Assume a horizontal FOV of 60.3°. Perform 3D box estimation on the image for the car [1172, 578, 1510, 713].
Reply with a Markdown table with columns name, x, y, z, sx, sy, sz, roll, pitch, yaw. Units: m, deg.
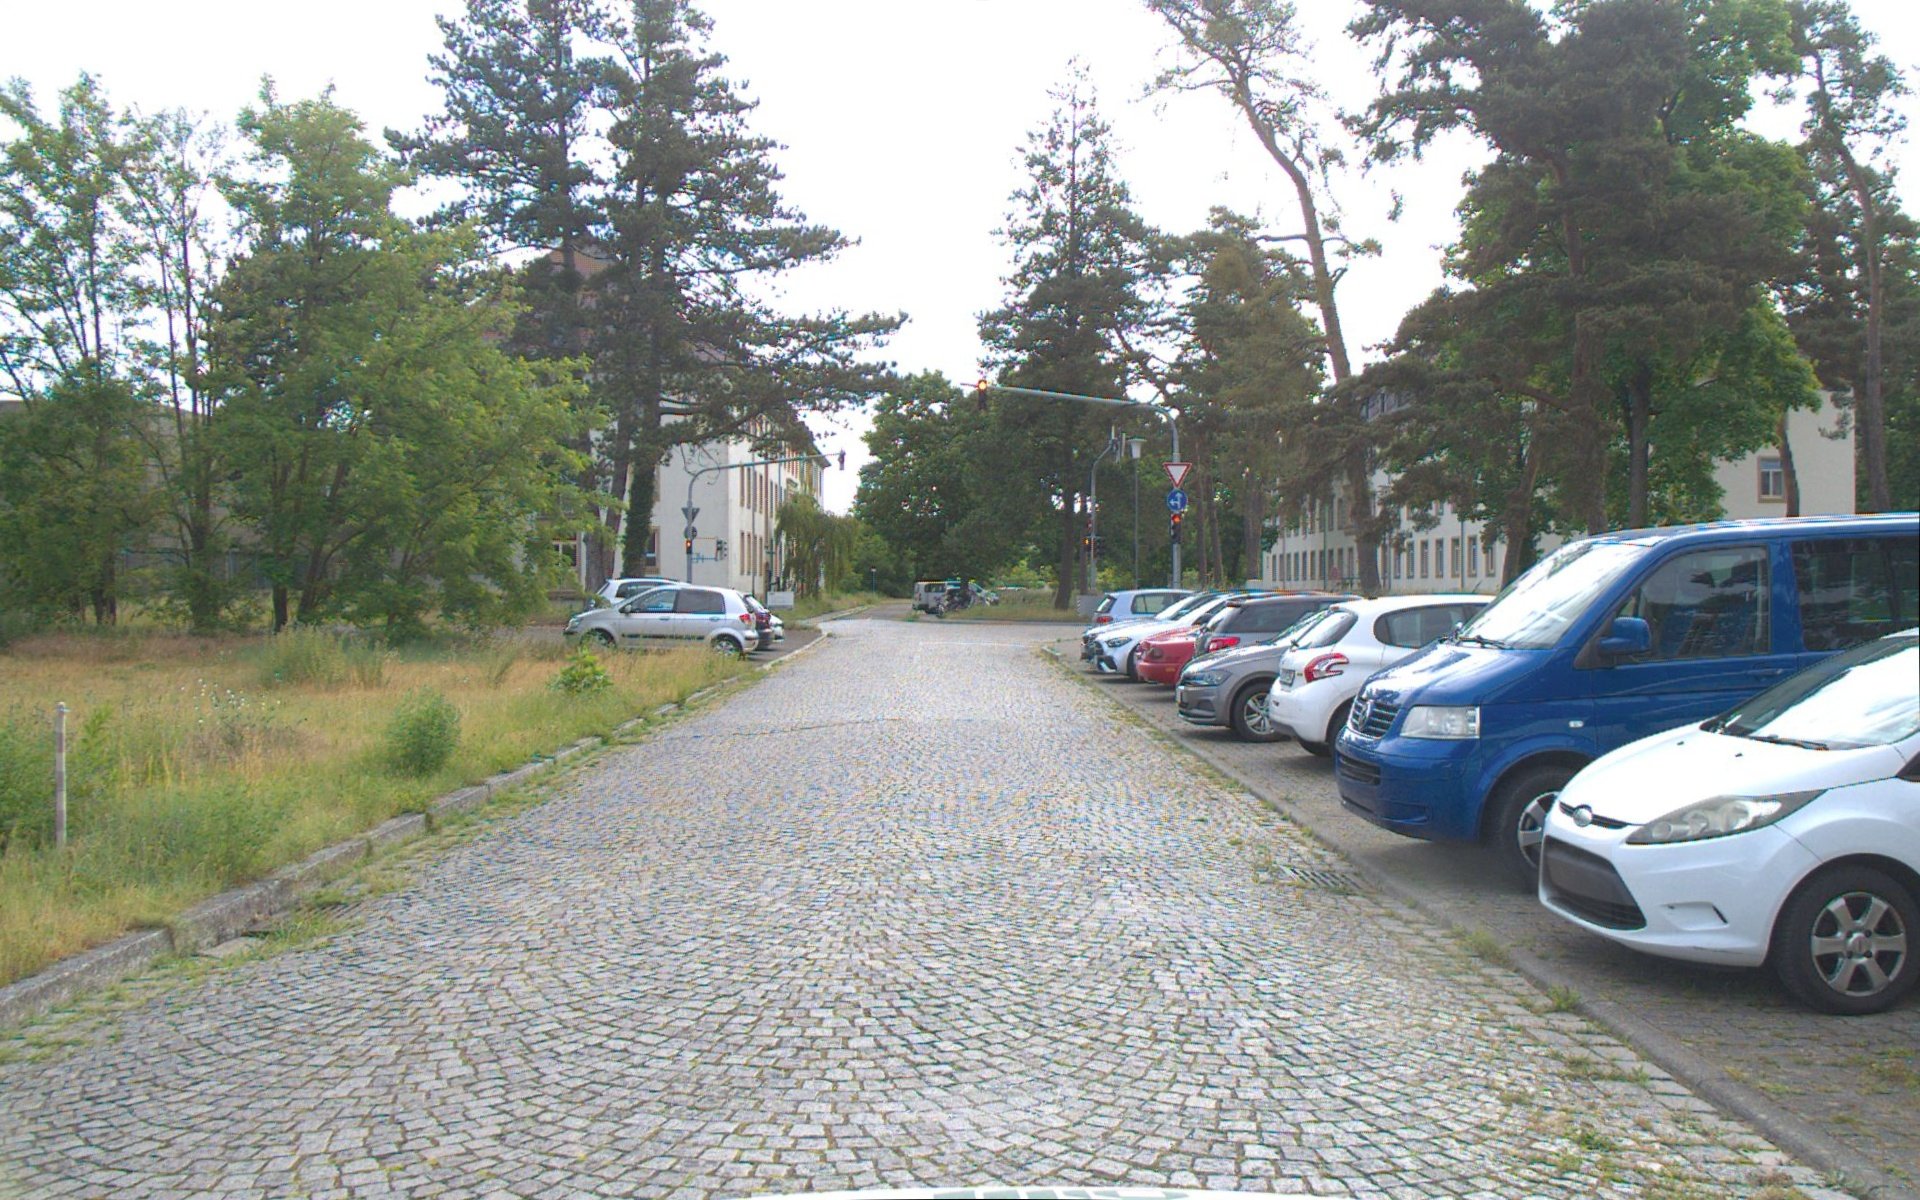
| name | x | y | z | sx | sy | sz | roll | pitch | yaw |
| --- | --- | --- | --- | --- | --- | --- | --- | --- | --- |
| car | 4.705 | 0.537 | 20.772 | 3.785 | 1.498 | 1.757 | -2 | 0 | -2 |

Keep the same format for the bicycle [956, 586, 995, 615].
| name | x | y | z | sx | sy | sz | roll | pitch | yaw |
| --- | --- | --- | --- | --- | --- | --- | --- | --- | --- |
| bicycle | 0.802 | 0.021 | 83.526 | 1.918 | 1.408 | 0.587 | 0 | 0 | -8 |

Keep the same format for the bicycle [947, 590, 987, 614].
| name | x | y | z | sx | sy | sz | roll | pitch | yaw |
| --- | --- | --- | --- | --- | --- | --- | --- | --- | --- |
| bicycle | 0.357 | 0.090 | 82.054 | 1.918 | 1.152 | 0.587 | 0 | 0 | -8 |

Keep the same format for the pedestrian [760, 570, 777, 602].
| name | x | y | z | sx | sy | sz | roll | pitch | yaw |
| --- | --- | --- | --- | --- | --- | --- | --- | --- | --- |
| pedestrian | -11.323 | -0.828 | 97.570 | 0.766 | 1.869 | 0.733 | 0 | 0 | -32 |

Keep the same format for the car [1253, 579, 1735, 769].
| name | x | y | z | sx | sy | sz | roll | pitch | yaw |
| --- | --- | --- | --- | --- | --- | --- | --- | --- | --- |
| car | 4.746 | 0.620 | 15.066 | 3.785 | 1.498 | 1.757 | -2 | 0 | -2 |

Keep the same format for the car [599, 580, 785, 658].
| name | x | y | z | sx | sy | sz | roll | pitch | yaw |
| --- | --- | --- | --- | --- | --- | --- | --- | --- | --- |
| car | -5.598 | 0.392 | 34.888 | 3.672 | 1.453 | 1.581 | 3 | 0 | -4 |

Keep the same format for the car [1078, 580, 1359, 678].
| name | x | y | z | sx | sy | sz | roll | pitch | yaw |
| --- | --- | --- | --- | --- | --- | --- | --- | --- | --- |
| car | 4.350 | 0.460 | 28.145 | 4.341 | 1.441 | 1.867 | -2 | 1 | -10 |

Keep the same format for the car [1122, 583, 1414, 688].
| name | x | y | z | sx | sy | sz | roll | pitch | yaw |
| --- | --- | --- | --- | --- | --- | --- | --- | --- | --- |
| car | 4.749 | 0.530 | 25.885 | 4.175 | 1.441 | 1.871 | -2 | 1 | -1 |

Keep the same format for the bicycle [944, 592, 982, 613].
| name | x | y | z | sx | sy | sz | roll | pitch | yaw |
| --- | --- | --- | --- | --- | --- | --- | --- | --- | --- |
| bicycle | 0.158 | 0.122 | 84.167 | 1.935 | 1.088 | 0.582 | 0 | 0 | -31 |

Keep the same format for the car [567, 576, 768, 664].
| name | x | y | z | sx | sy | sz | roll | pitch | yaw |
| --- | --- | --- | --- | --- | --- | --- | --- | --- | --- |
| car | -5.654 | 0.373 | 32.289 | 3.630 | 1.505 | 1.581 | 3 | 0 | -4 |

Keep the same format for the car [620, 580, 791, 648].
| name | x | y | z | sx | sy | sz | roll | pitch | yaw |
| --- | --- | --- | --- | --- | --- | --- | --- | --- | --- |
| car | -6.141 | 0.325 | 40.200 | 3.868 | 1.446 | 1.650 | 3 | 0 | -2 |

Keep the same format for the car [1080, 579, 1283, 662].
| name | x | y | z | sx | sy | sz | roll | pitch | yaw |
| --- | --- | --- | --- | --- | --- | --- | --- | --- | --- |
| car | 4.410 | 0.400 | 33.285 | 3.846 | 1.503 | 1.642 | -2 | 0 | 0 |

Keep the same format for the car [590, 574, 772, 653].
| name | x | y | z | sx | sy | sz | roll | pitch | yaw |
| --- | --- | --- | --- | --- | --- | --- | --- | --- | --- |
| car | -6.297 | 0.303 | 37.654 | 3.870 | 1.590 | 1.649 | 3 | 0 | -4 |

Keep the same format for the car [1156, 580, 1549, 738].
| name | x | y | z | sx | sy | sz | roll | pitch | yaw |
| --- | --- | --- | --- | --- | --- | --- | --- | --- | --- |
| car | 4.157 | 0.594 | 17.919 | 3.785 | 1.498 | 1.757 | -2 | 0 | -2 |

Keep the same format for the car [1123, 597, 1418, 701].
| name | x | y | z | sx | sy | sz | roll | pitch | yaw |
| --- | --- | --- | --- | --- | --- | --- | --- | --- | --- |
| car | 4.314 | 0.664 | 23.351 | 3.785 | 1.258 | 1.757 | -2 | 1 | -2 |

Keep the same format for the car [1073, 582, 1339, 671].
| name | x | y | z | sx | sy | sz | roll | pitch | yaw |
| --- | --- | --- | --- | --- | --- | --- | --- | --- | --- |
| car | 4.522 | 0.467 | 30.835 | 4.588 | 1.441 | 1.870 | -2 | 1 | -3 |

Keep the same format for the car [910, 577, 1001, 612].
| name | x | y | z | sx | sy | sz | roll | pitch | yaw |
| --- | --- | --- | --- | --- | --- | --- | --- | --- | --- |
| car | -0.287 | -0.318 | 100.126 | 5.263 | 1.958 | 2.020 | -2 | 0 | -10 |

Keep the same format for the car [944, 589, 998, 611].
| name | x | y | z | sx | sy | sz | roll | pitch | yaw |
| --- | --- | --- | --- | --- | --- | --- | --- | --- | --- |
| car | 0.634 | -0.013 | 96.780 | 2.948 | 1.290 | 1.533 | 0 | 0 | -7 |

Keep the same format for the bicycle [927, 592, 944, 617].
| name | x | y | z | sx | sy | sz | roll | pitch | yaw |
| --- | --- | --- | --- | --- | --- | --- | --- | --- | --- |
| bicycle | -1.170 | 0.214 | 78.829 | 0.591 | 1.152 | 1.959 | 0 | 0 | -6 |

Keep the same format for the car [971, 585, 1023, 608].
| name | x | y | z | sx | sy | sz | roll | pitch | yaw |
| --- | --- | --- | --- | --- | --- | --- | --- | --- | --- |
| car | 2.332 | -0.230 | 104.056 | 3.168 | 1.441 | 1.724 | 0 | 0 | -4 |

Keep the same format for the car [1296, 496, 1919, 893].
| name | x | y | z | sx | sy | sz | roll | pitch | yaw |
| --- | --- | --- | --- | --- | --- | --- | --- | --- | --- |
| car | 4.567 | 0.448 | 9.712 | 4.711 | 1.979 | 2.002 | -2 | 0 | -2 |

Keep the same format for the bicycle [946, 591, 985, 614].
| name | x | y | z | sx | sy | sz | roll | pitch | yaw |
| --- | --- | --- | --- | --- | --- | --- | --- | --- | --- |
| bicycle | 0.285 | 0.108 | 82.686 | 1.918 | 1.136 | 0.587 | 0 | 0 | -8 |

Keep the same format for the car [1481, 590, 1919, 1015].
| name | x | y | z | sx | sy | sz | roll | pitch | yaw |
| --- | --- | --- | --- | --- | --- | --- | --- | --- | --- |
| car | 4.445 | 0.718 | 7.118 | 3.785 | 1.498 | 1.840 | -2 | 0 | -2 |
